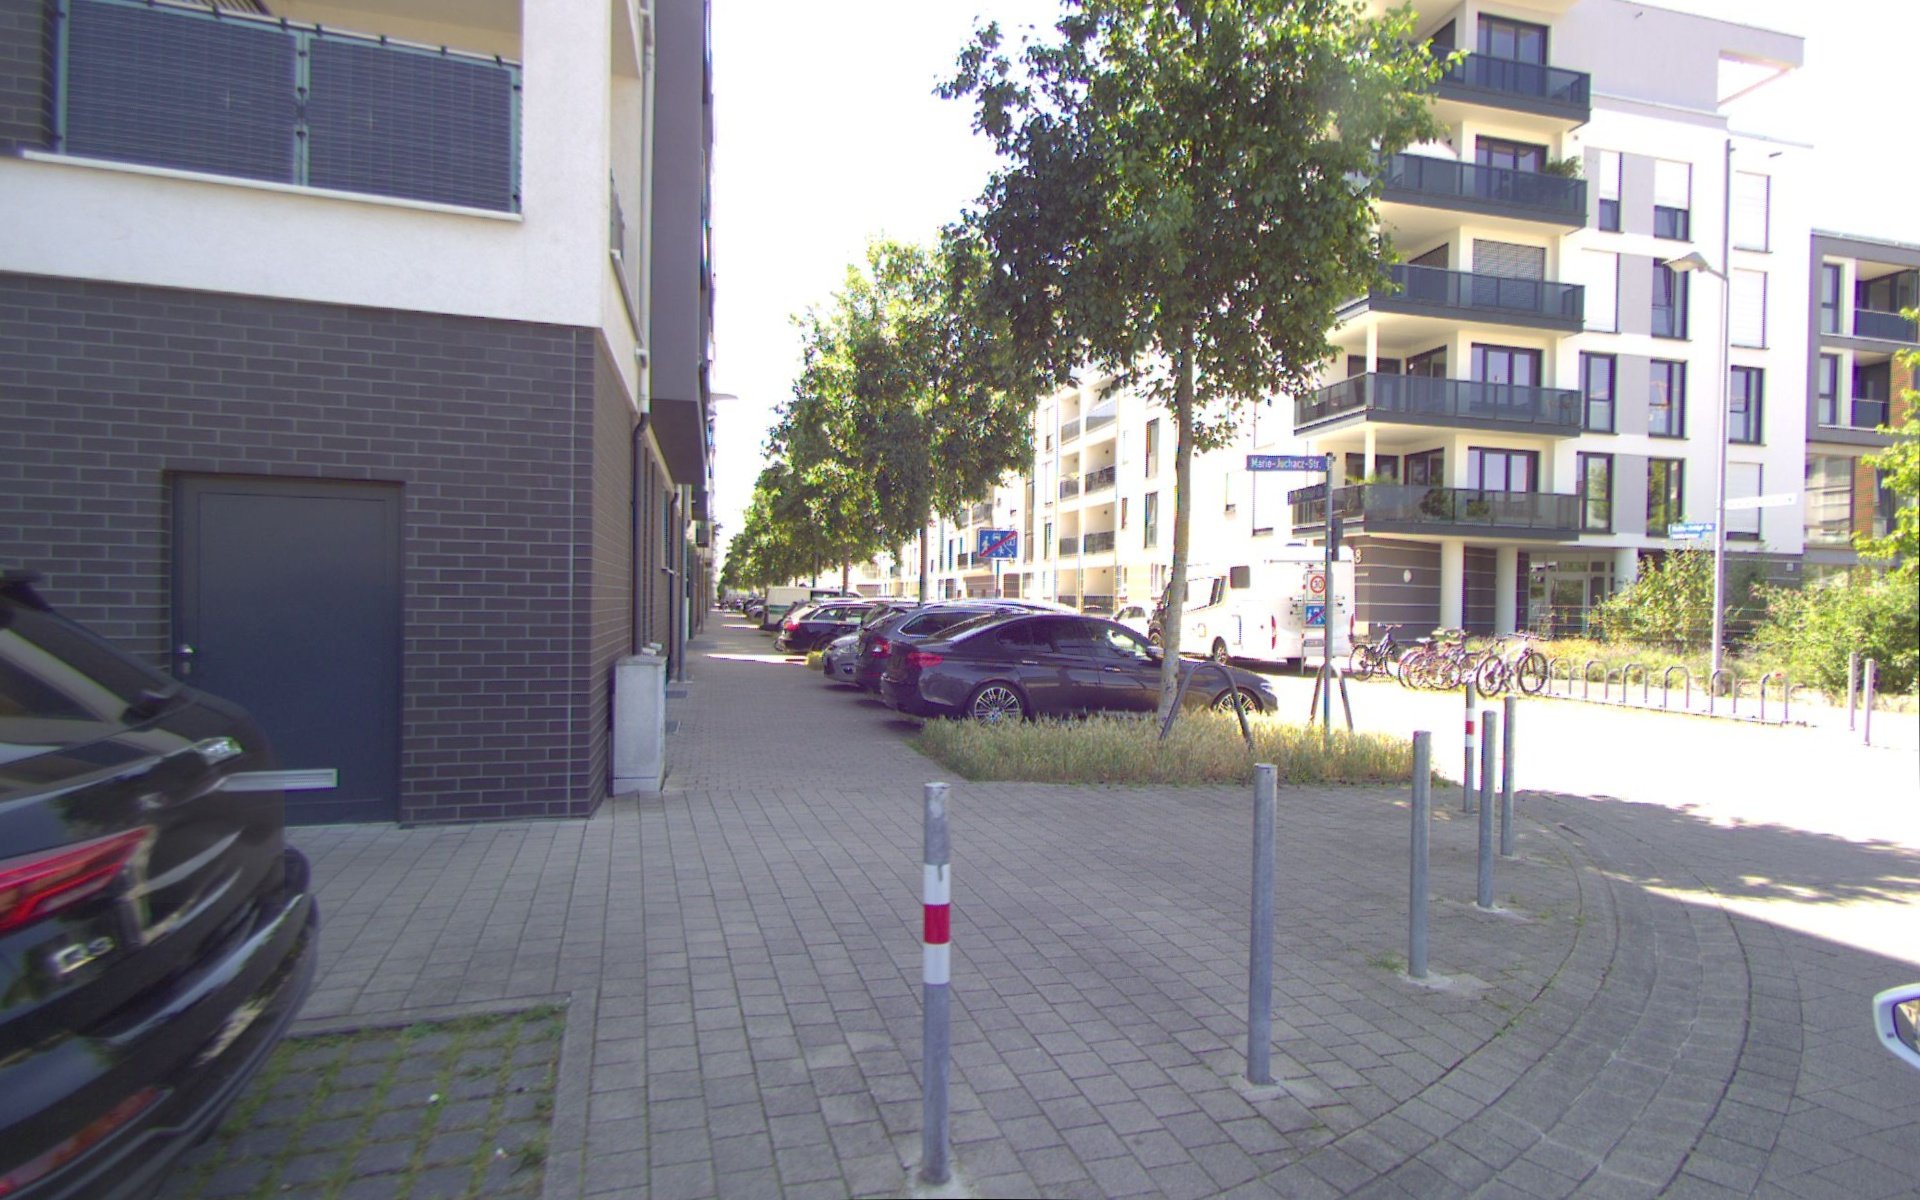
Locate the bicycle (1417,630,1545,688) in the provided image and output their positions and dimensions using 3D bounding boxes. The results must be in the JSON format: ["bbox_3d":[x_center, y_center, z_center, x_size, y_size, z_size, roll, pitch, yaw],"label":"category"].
[{"bbox_3d":[9.392,1.051,18.168,1.823,0.988,0.945,0,0,-1],"label":"bicycle"}]

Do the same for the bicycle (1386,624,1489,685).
[{"bbox_3d":[9.092,1.034,19.133,1.856,1.125,0.474,0,1,-13],"label":"bicycle"}]

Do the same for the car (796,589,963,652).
[{"bbox_3d":[-2.367,0.597,29.349,4.502,1.615,1.958,3,0,-19],"label":"car"}]

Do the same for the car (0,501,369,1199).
[{"bbox_3d":[-3.553,0.570,1.493,4.330,1.540,1.771,1,2,-20],"label":"car"}]

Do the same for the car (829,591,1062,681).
[{"bbox_3d":[-0.313,0.694,19.730,4.197,1.551,1.816,2,0,-17],"label":"car"}]

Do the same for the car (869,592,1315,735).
[{"bbox_3d":[1.554,0.727,12.203,5.032,1.504,1.921,1,0,-16],"label":"car"}]

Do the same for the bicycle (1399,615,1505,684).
[{"bbox_3d":[9.185,0.908,18.766,1.824,1.239,0.554,0,1,-13],"label":"bicycle"}]

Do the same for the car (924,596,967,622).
[{"bbox_3d":[-0.917,0.511,60.973,1.713,1.507,4.247,-1,1,-13],"label":"car"}]

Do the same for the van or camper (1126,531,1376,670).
[{"bbox_3d":[6.938,0.049,25.433,2.406,2.944,7.803,1,-1,-15],"label":"van or camper"}]

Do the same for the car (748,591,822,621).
[{"bbox_3d":[-10.515,0.364,60.286,4.195,1.538,1.919,3,0,-14],"label":"car"}]

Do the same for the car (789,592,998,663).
[{"bbox_3d":[-1.648,0.657,24.310,4.783,1.476,1.824,3,0,-14],"label":"car"}]

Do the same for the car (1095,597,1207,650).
[{"bbox_3d":[5.909,0.680,31.653,1.783,1.525,4.246,-1,1,-16],"label":"car"}]

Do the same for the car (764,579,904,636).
[{"bbox_3d":[-4.940,0.302,39.163,5.266,2.139,2.182,0,0,-12],"label":"car"}]

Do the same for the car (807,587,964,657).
[{"bbox_3d":[-2.024,0.569,26.729,3.923,1.651,1.945,2,0,-12],"label":"car"}]

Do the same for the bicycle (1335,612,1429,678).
[{"bbox_3d":[8.726,0.897,20.749,1.899,1.239,0.820,-2,2,-30],"label":"bicycle"}]

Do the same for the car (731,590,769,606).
[{"bbox_3d":[-29.008,-0.271,138.722,5.074,2.147,2.305,2,0,-14],"label":"car"}]

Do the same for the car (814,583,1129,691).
[{"bbox_3d":[0.147,0.607,17.048,4.962,1.654,2.035,1,1,-16],"label":"car"}]

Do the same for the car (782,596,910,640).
[{"bbox_3d":[-4.151,0.637,36.444,4.362,1.509,1.993,0,0,-16],"label":"car"}]

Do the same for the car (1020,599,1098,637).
[{"bbox_3d":[3.923,0.675,40.423,1.820,1.435,4.415,1,0,-13],"label":"car"}]

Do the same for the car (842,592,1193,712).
[{"bbox_3d":[0.808,0.760,14.732,4.756,1.468,1.822,3,-1,-16],"label":"car"}]

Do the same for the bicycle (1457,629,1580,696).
[{"bbox_3d":[9.590,1.046,17.233,2.006,1.016,0.869,0,1,-26],"label":"bicycle"}]
